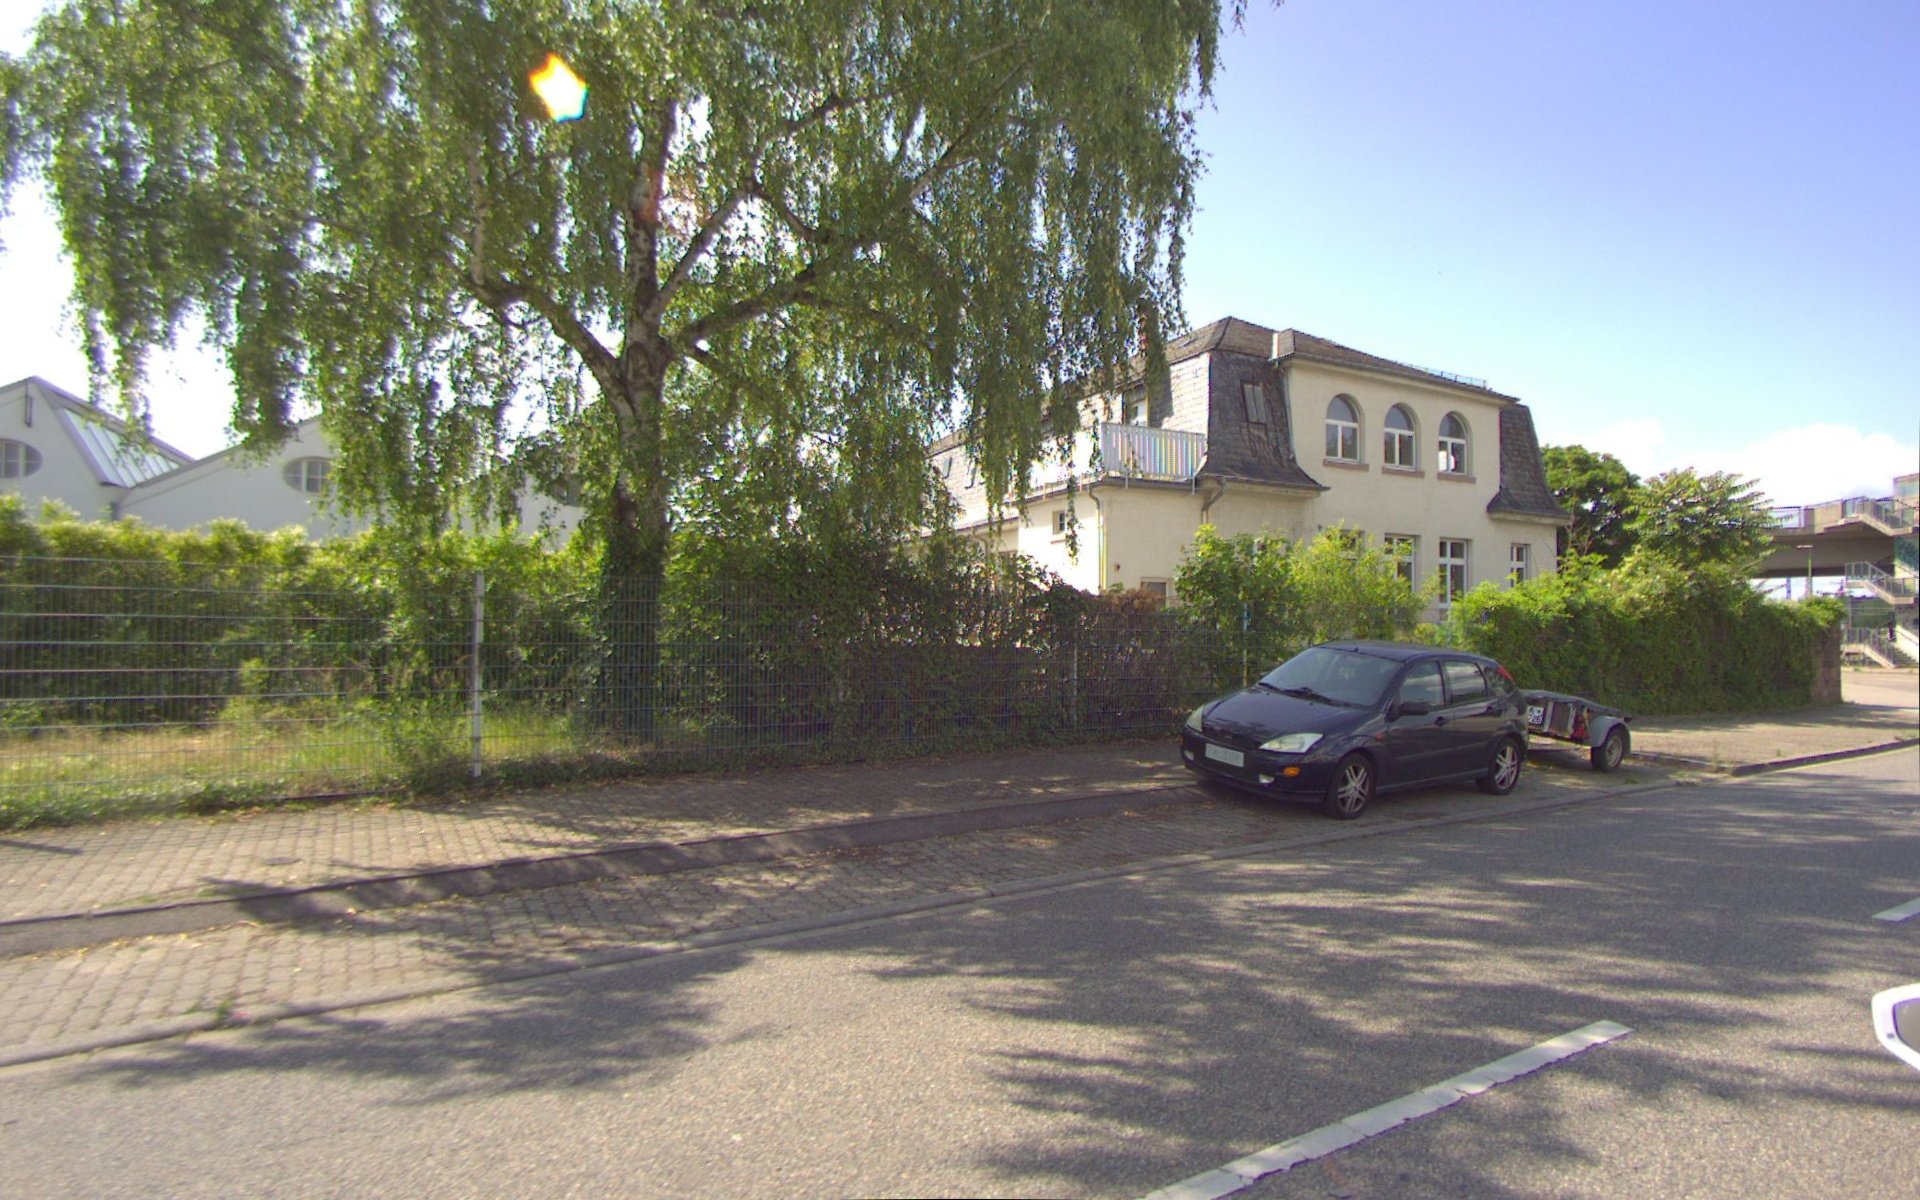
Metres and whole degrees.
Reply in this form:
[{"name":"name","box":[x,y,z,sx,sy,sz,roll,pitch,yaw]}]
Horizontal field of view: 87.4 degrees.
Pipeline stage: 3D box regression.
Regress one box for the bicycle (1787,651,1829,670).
[{"name":"bicycle","box":[50.984,3.623,60.431,0.632,1.122,2.192,-1,-3,1]}]

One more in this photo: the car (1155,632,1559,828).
[{"name":"car","box":[4.107,1.182,10.194,4.113,1.532,1.672,2,1,-33]}]

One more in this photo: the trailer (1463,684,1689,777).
[{"name":"trailer","box":[7.851,1.608,12.803,2.438,0.862,1.457,2,2,-31]}]
